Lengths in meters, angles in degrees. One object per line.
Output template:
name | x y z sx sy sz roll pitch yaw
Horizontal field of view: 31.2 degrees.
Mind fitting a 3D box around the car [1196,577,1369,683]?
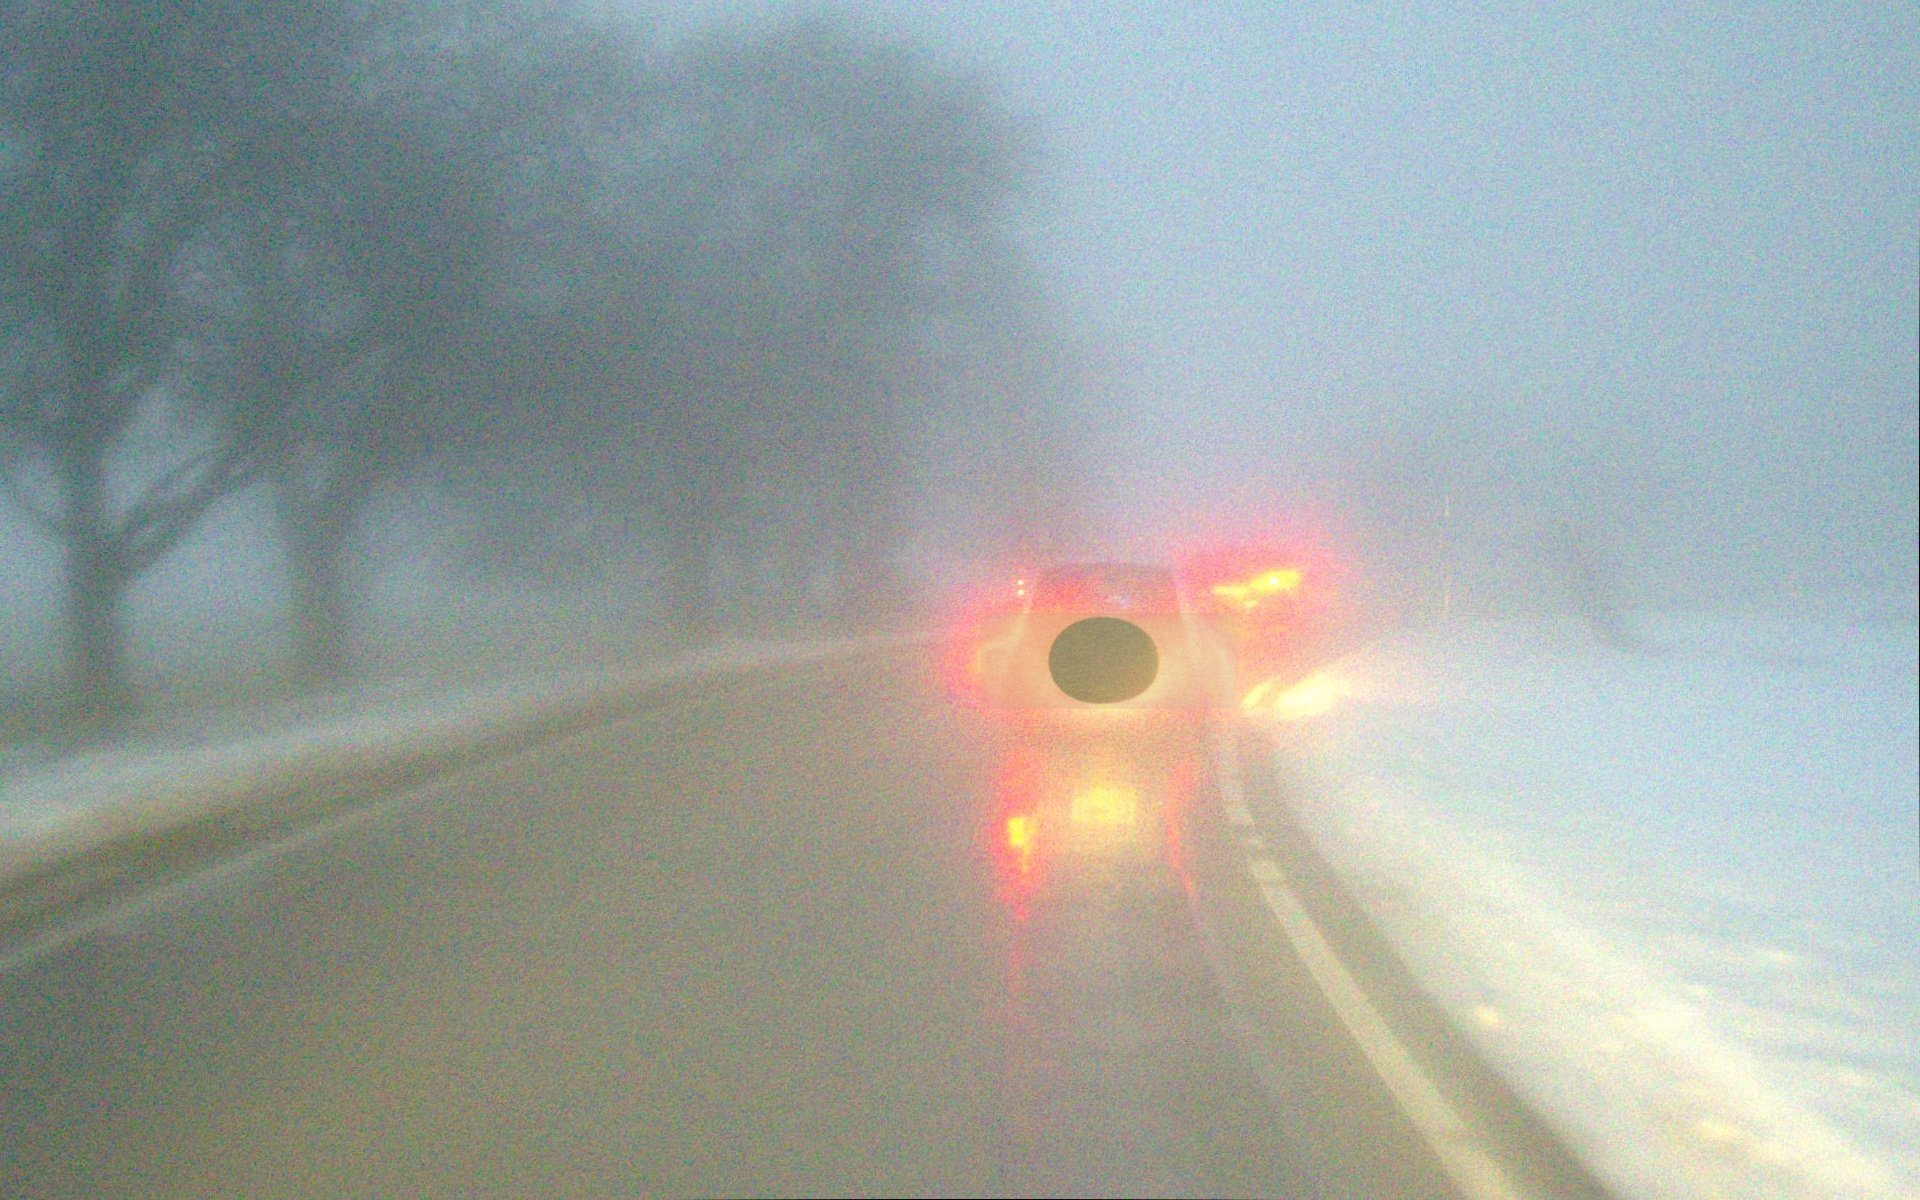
car | 4.805 0.421 50.962 1.481 1.503 3.048 0 1 28

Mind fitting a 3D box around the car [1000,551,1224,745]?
car | 1.211 0.341 28.497 1.707 1.458 4.000 1 1 1
